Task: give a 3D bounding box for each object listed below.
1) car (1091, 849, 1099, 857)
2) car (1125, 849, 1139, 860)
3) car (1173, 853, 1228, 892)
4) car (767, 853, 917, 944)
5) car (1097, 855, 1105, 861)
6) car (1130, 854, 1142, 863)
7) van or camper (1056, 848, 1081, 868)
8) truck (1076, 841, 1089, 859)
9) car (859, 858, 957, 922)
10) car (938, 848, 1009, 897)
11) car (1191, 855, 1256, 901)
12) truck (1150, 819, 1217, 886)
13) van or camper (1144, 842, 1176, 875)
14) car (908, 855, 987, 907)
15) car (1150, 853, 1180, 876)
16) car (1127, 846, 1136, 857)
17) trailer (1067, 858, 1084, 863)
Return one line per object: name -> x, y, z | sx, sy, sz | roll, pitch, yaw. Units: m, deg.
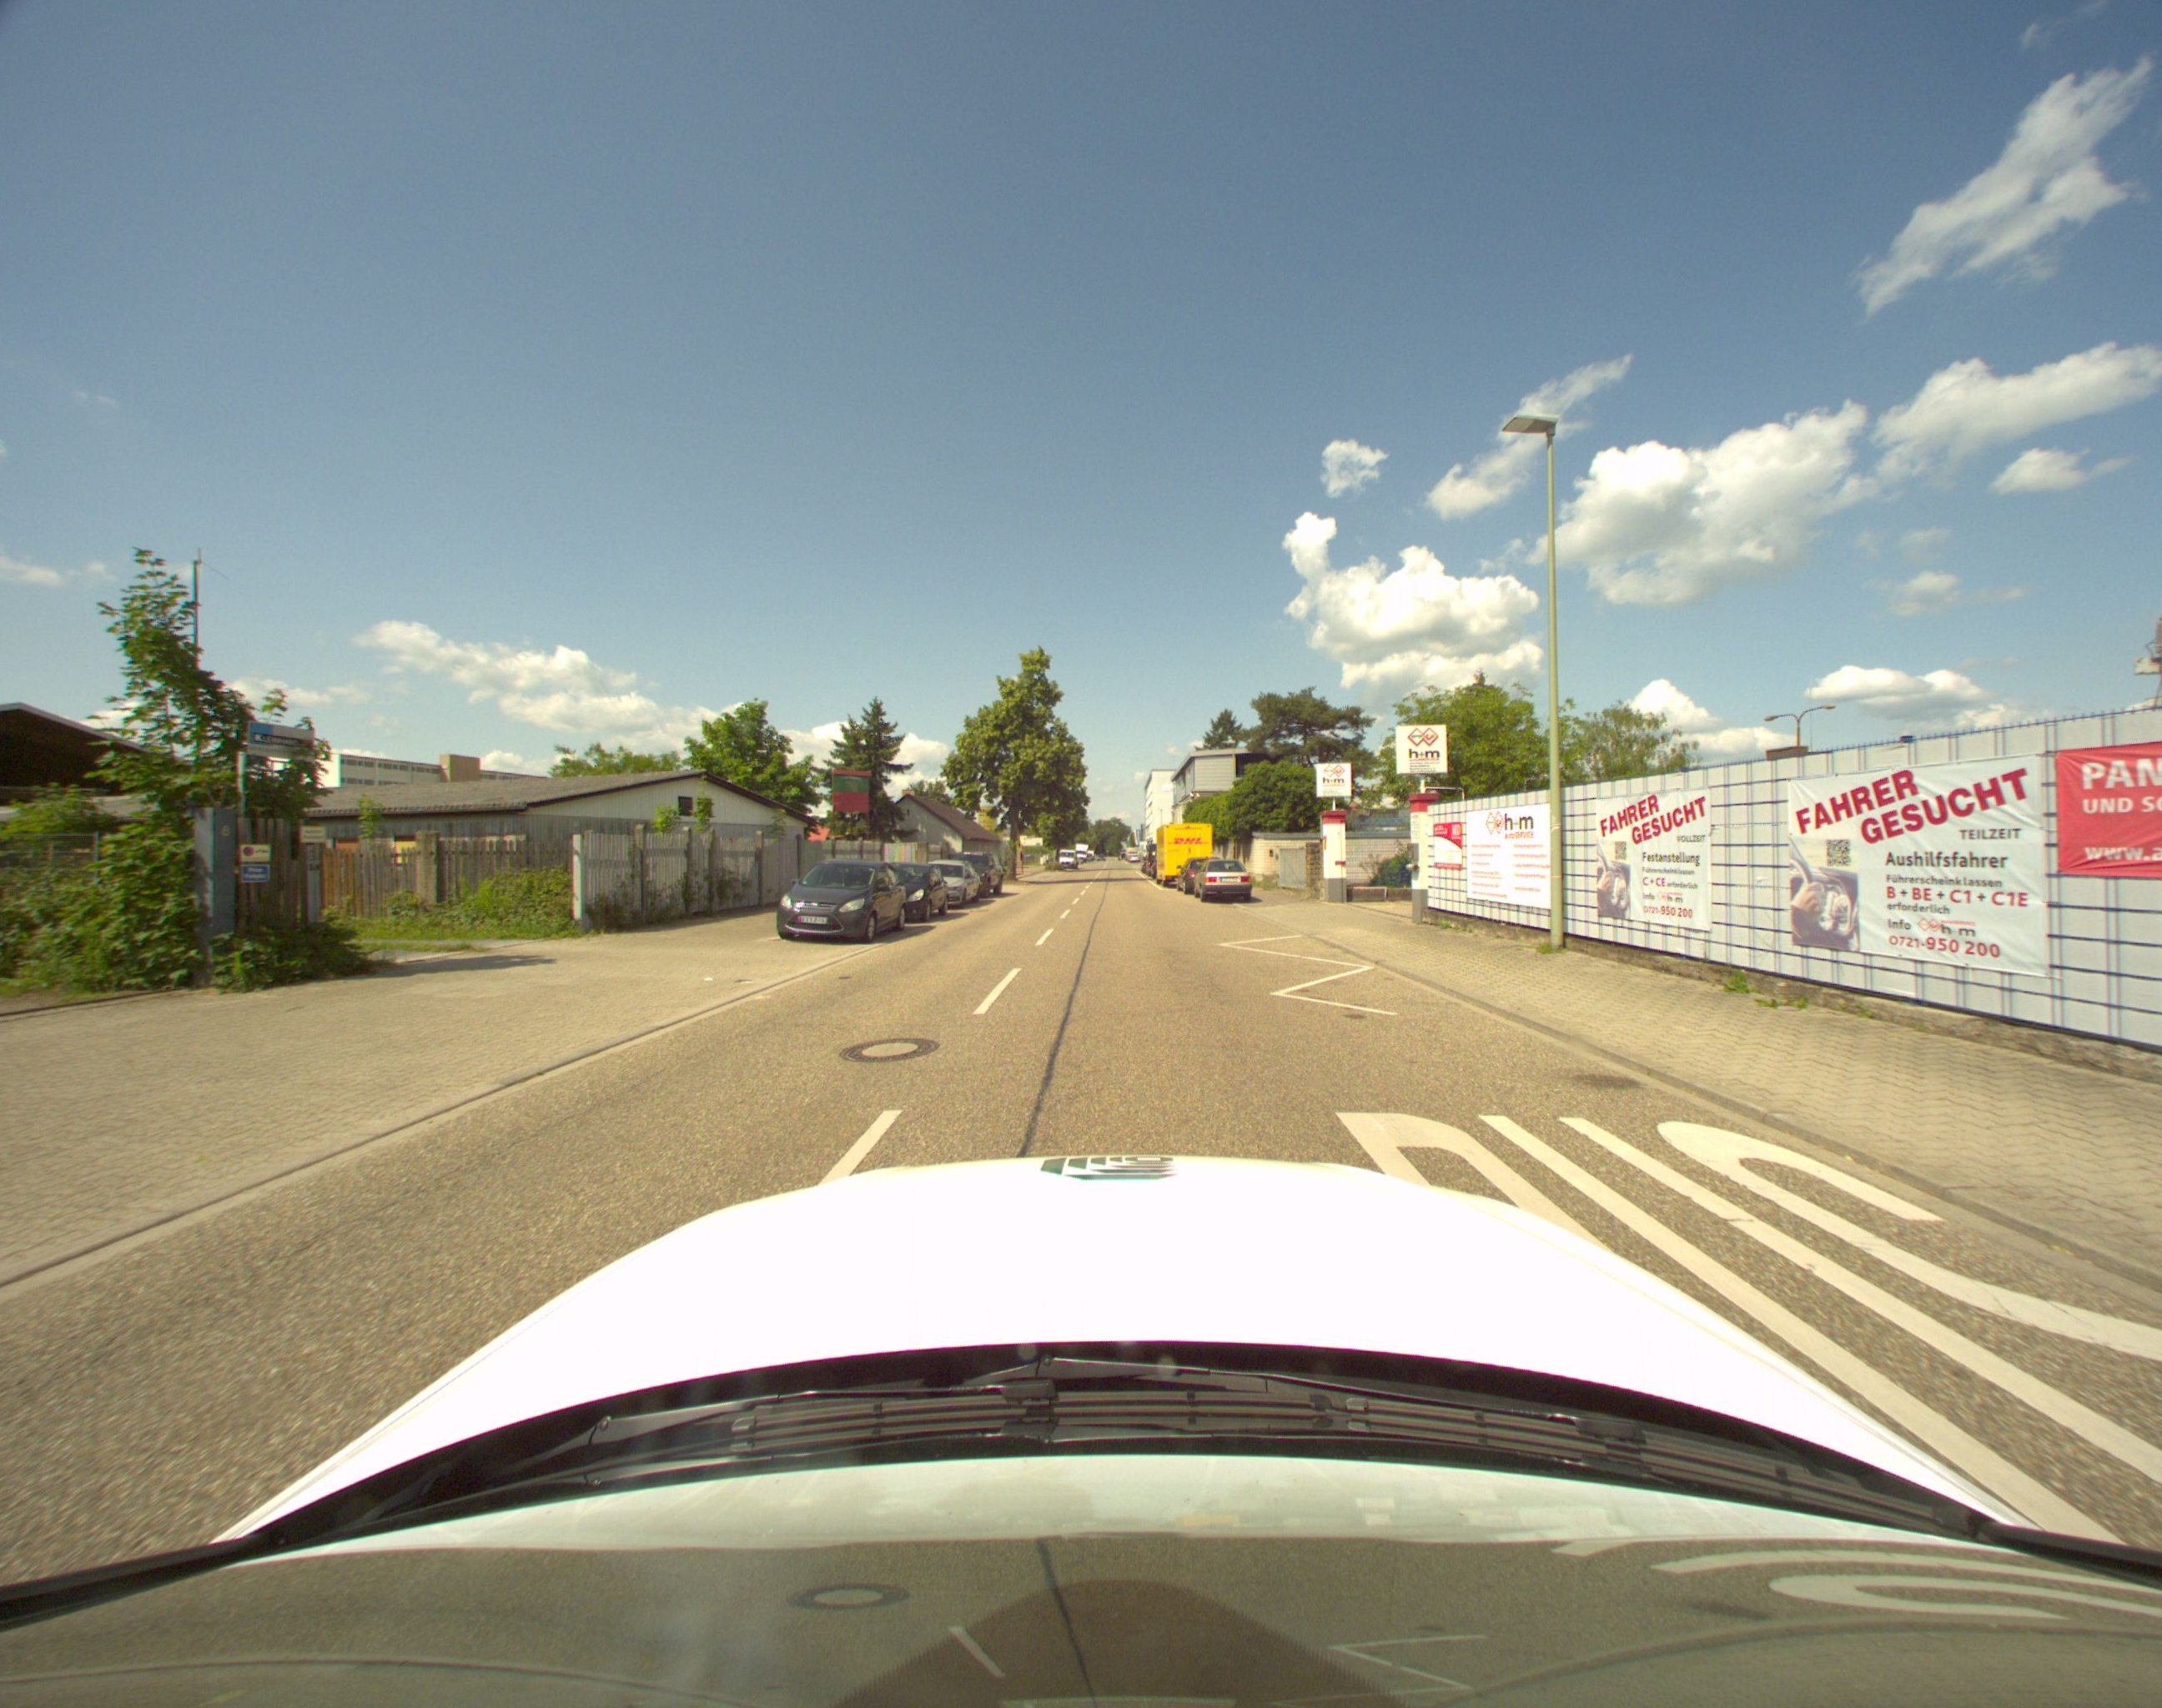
car -> 3.184, -0.199, 184.652 | 1.706, 1.650, 4.002 | -1, 0, 2
car -> 9.079, 0.066, 145.416 | 2.207, 2.013, 5.488 | -1, 0, 2
car -> 4.731, 0.703, 32.706 | 1.656, 1.441, 4.284 | -1, 0, 1
car -> -4.827, 0.810, 17.136 | 1.718, 1.604, 4.414 | 2, 0, 1
car -> 4.335, 0.898, 176.855 | 1.648, 1.324, 4.419 | -1, 0, 2
car -> 8.863, 0.687, 131.838 | 1.921, 1.310, 4.002 | -1, 0, 2
van or camper -> -1.486, 0.436, 99.687 | 2.163, 2.413, 7.709 | -1, 0, 5
truck -> 0.256, -0.727, 143.609 | 2.021, 3.154, 6.504 | -1, 0, 3
car -> -4.598, 0.904, 22.205 | 1.622, 1.448, 4.028 | 3, 0, 1
car -> -4.261, 0.691, 33.151 | 1.910, 1.822, 4.791 | 0, 0, 4
car -> 4.799, 0.770, 27.890 | 1.645, 1.386, 4.426 | 0, 1, 3
truck -> 4.831, -0.068, 39.485 | 2.465, 2.940, 7.190 | 1, 0, 1
van or camper -> 5.744, 0.328, 59.838 | 1.986, 2.291, 5.451 | 1, 0, 2
car -> -4.421, 0.849, 27.708 | 1.726, 1.518, 4.745 | 2, 1, 2
car -> 5.537, 0.684, 53.874 | 1.675, 1.442, 4.769 | 0, 0, 2
car -> 9.675, -0.476, 156.017 | 1.701, 2.090, 4.002 | -1, 0, 2
trailer -> -0.856, 1.032, 129.981 | 2.407, 0.813, 5.541 | 1, 0, 3
